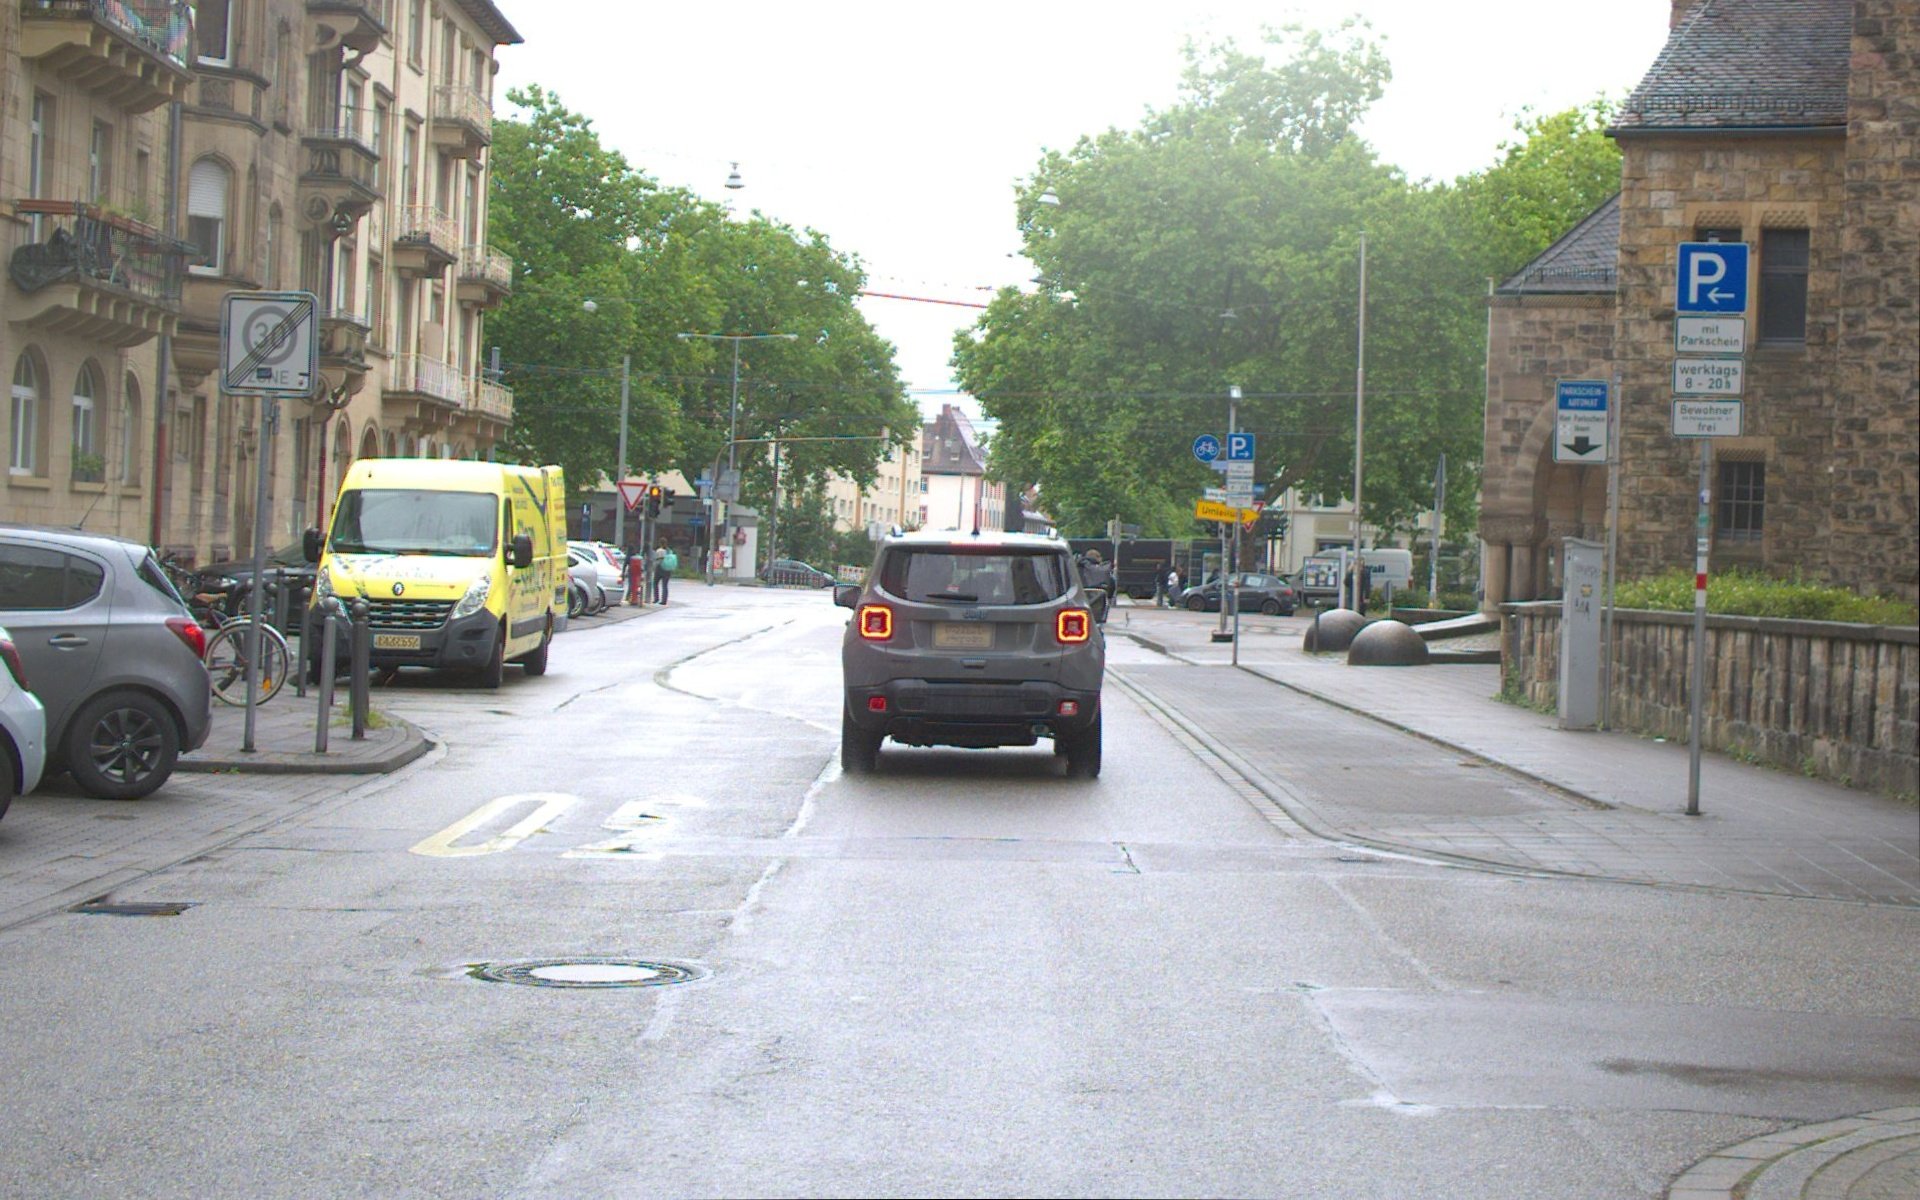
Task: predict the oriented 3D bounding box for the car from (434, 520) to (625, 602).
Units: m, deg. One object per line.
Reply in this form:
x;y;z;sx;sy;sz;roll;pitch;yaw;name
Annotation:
-9.468;-0.848;75.622;3.729;1.553;1.672;3;0;-33;car

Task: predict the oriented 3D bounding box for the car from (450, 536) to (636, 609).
-8.842;-0.579;72.996;3.413;1.311;1.779;3;0;-33;car

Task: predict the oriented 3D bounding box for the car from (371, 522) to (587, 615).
-9.322;-0.603;66.688;3.653;1.553;1.809;3;0;-36;car

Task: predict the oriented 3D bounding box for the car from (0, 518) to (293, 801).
-5.906;0.271;19.093;3.818;1.502;1.989;3;0;-30;car

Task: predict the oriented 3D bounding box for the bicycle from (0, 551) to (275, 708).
-6.563;0.225;27.124;2.132;1.093;0.594;4;1;1;bicycle

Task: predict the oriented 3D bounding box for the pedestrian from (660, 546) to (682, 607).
-7.621;-0.626;90.643;0.467;1.580;0.752;2;1;-1;pedestrian

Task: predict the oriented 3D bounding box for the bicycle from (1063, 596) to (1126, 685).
1.681;0.497;43.047;0.705;1.050;1.813;1;1;0;bicycle

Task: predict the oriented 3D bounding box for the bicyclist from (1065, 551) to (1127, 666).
1.693;0.097;43.043;0.705;1.399;1.171;1;1;0;bicyclist

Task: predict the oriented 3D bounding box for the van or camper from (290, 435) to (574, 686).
-5.809;-0.337;38.749;2.121;2.522;6.874;-1;-1;0;van or camper

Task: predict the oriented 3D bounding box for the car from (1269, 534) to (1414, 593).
15.985;-1.532;144.366;5.905;2.326;2.059;1;1;4;car

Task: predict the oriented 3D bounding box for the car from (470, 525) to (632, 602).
-9.385;-0.825;78.926;3.245;1.553;1.535;3;0;-33;car

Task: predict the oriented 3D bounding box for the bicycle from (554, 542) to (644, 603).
-8.753;-0.666;83.408;2.092;1.439;0.491;1;1;-20;bicycle

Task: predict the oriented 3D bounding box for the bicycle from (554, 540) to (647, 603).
-8.613;-0.681;82.414;2.109;1.439;0.539;1;1;-20;bicycle

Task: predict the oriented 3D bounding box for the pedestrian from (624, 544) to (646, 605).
-8.513;-0.673;89.994;0.467;1.580;0.659;2;1;-1;pedestrian

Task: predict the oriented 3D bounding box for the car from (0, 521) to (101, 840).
-6.017;0.306;16.310;3.375;1.502;1.681;3;0;-30;car

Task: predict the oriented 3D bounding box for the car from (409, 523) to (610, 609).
-9.160;-0.683;69.885;3.496;1.513;1.885;3;0;-33;car

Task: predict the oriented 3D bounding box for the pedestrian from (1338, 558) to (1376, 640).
8.361;-0.019;72.424;0.691;1.705;0.684;1;1;0;pedestrian

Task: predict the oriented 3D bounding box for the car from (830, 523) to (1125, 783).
0.081;0.327;24.938;1.898;1.665;4.506;2;1;-1;car

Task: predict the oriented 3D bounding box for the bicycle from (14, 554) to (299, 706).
-6.524;0.235;27.950;2.116;1.093;0.594;4;1;1;bicycle
